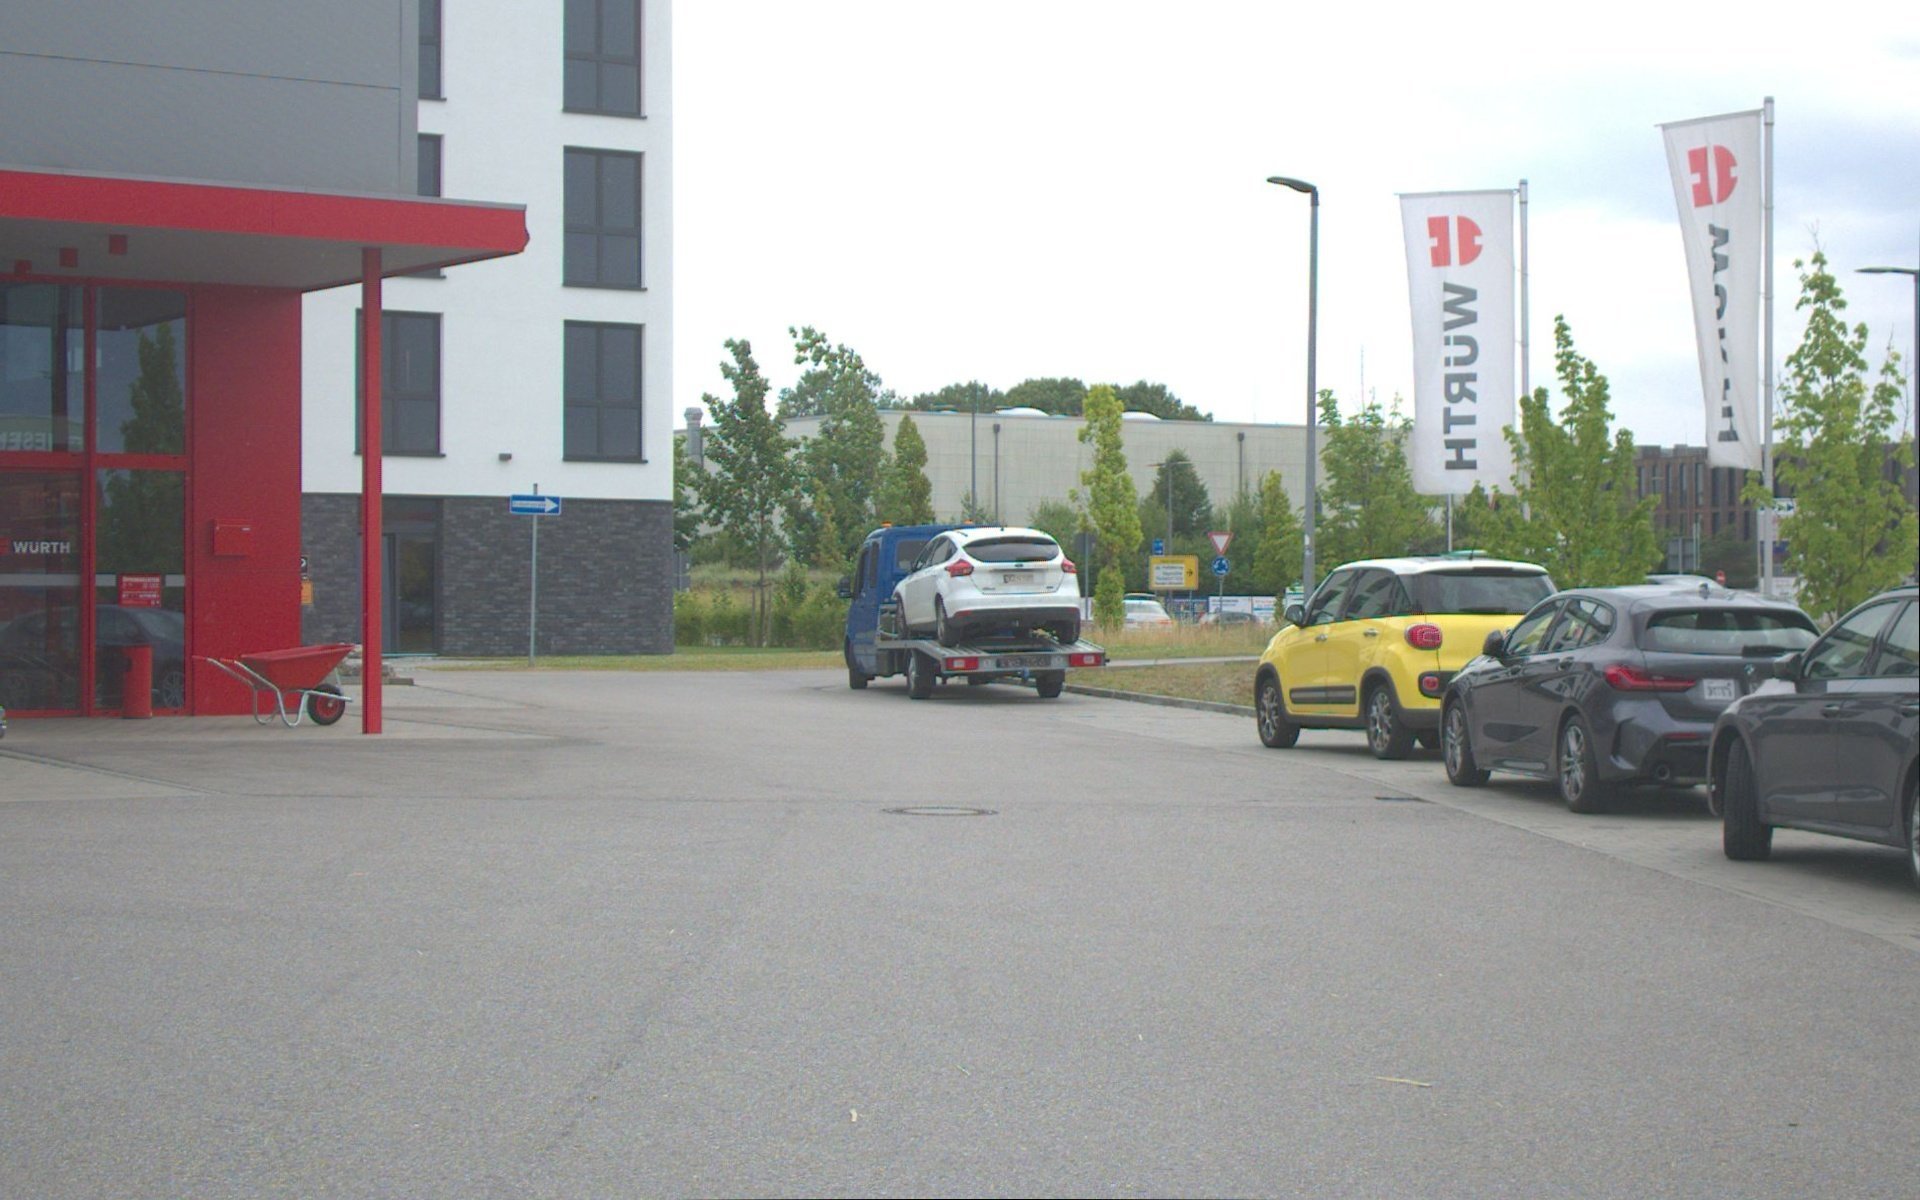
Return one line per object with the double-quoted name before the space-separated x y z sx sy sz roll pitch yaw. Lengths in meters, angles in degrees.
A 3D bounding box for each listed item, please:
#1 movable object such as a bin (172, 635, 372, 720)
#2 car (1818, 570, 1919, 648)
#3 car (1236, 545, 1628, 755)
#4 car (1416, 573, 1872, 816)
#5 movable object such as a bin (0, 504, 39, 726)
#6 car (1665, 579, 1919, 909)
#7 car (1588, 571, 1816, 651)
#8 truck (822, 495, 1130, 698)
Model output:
"movable object such as a bin" -5.995 0.675 29.947 1.488 0.701 0.965 1 0 -27
"car" 19.127 0.160 67.600 1.924 1.481 4.421 -2 1 -26
"car" 3.946 0.402 29.428 1.856 1.644 4.001 1 0 -16
"car" 4.448 0.563 23.005 1.751 1.464 4.108 1 0 -7
"movable object such as a bin" -7.592 0.126 26.088 0.910 1.666 0.743 -3 2 -33
"car" 5.031 0.650 16.719 1.751 1.464 4.477 1 0 -8
"car" 13.490 0.172 62.737 1.762 1.390 4.559 0 1 -23
"truck" 0.050 -0.051 45.728 2.331 2.398 7.898 -2 0 -12
